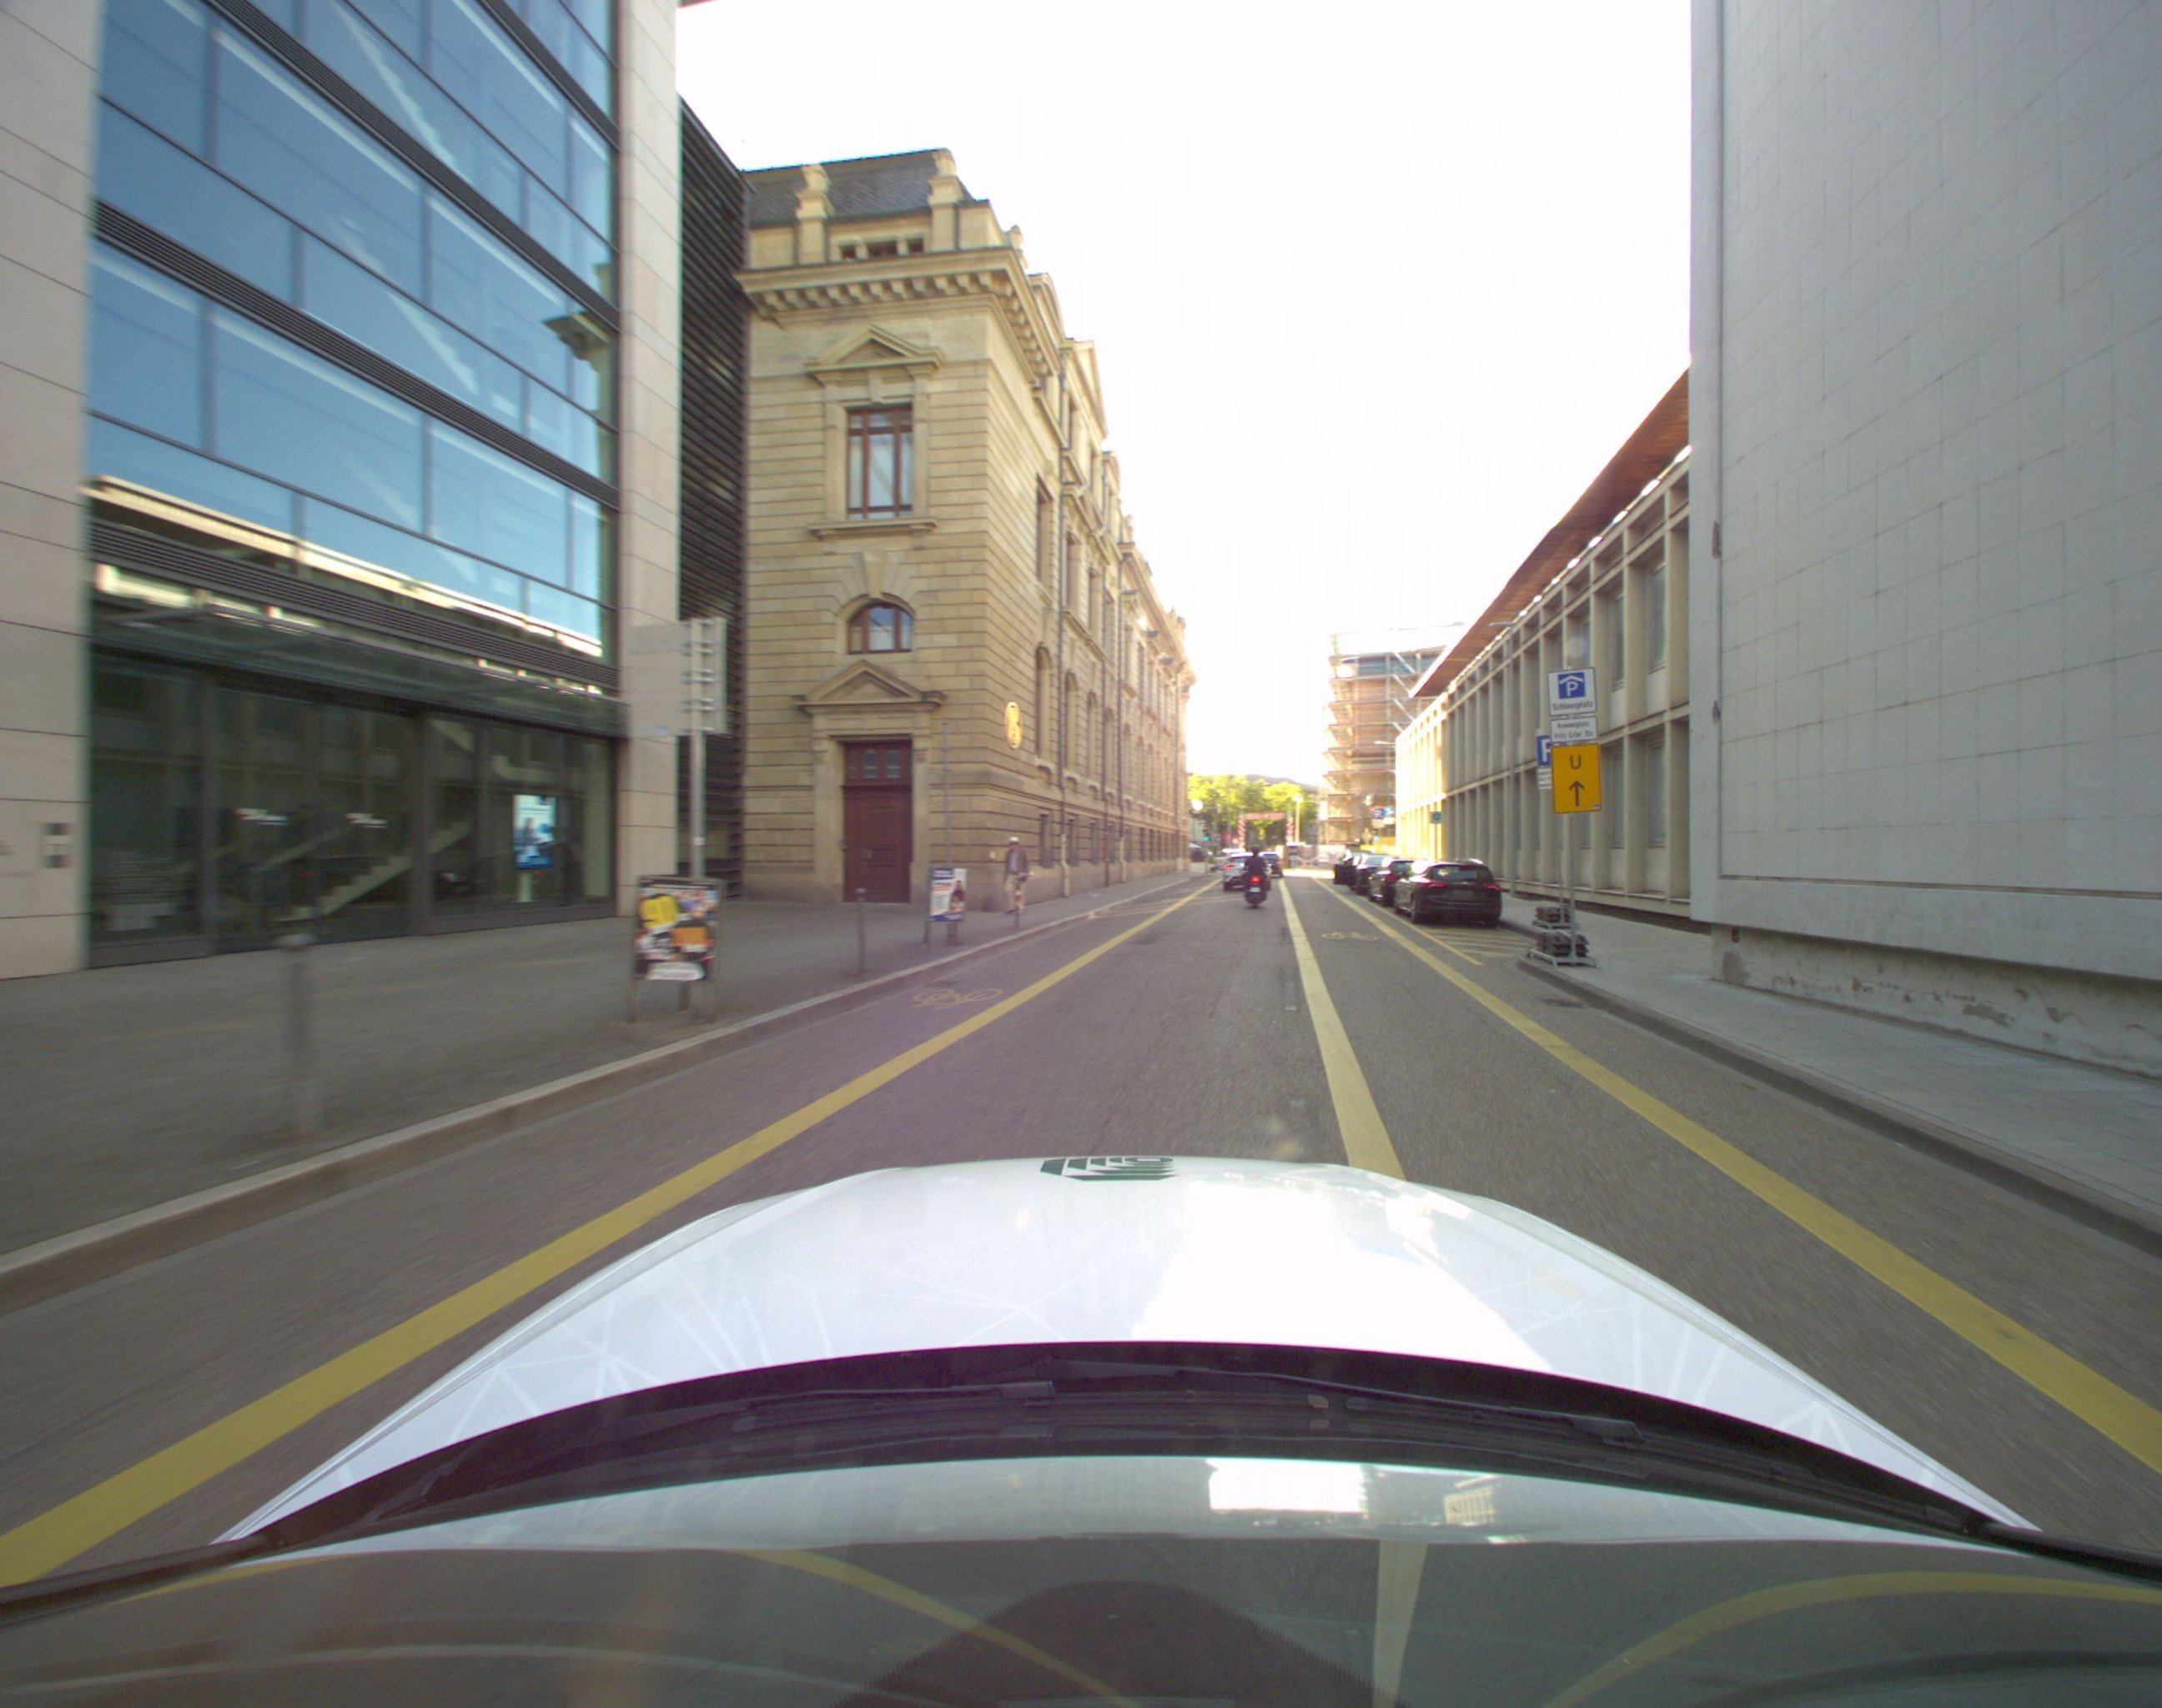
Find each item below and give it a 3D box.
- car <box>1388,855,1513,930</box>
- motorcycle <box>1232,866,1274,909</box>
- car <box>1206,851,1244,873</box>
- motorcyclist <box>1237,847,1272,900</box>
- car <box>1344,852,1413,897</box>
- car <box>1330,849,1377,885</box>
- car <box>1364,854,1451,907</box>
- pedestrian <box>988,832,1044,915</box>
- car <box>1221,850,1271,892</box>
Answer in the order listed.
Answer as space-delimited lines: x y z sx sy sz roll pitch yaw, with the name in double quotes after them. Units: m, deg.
8.497 0.810 19.118 1.770 1.479 4.303 2 0 12 "car"
4.722 0.887 22.264 0.865 1.109 1.849 -1 -1 20 "motorcycle"
12.047 0.648 68.522 1.991 1.664 4.350 -3 1 -6 "car"
4.783 0.533 22.488 0.859 1.427 0.458 -1 -2 21 "motorcyclist"
11.113 0.704 30.699 1.812 1.501 4.752 2 0 12 "car"
14.365 0.639 43.127 1.812 1.699 4.683 1 1 12 "car"
9.835 0.787 24.871 1.769 1.479 4.303 0 -1 12 "car"
-1.479 0.445 18.745 0.835 1.800 1.078 4 0 15 "pedestrian"
6.584 0.641 32.684 1.811 1.541 4.276 1 0 10 "car"
